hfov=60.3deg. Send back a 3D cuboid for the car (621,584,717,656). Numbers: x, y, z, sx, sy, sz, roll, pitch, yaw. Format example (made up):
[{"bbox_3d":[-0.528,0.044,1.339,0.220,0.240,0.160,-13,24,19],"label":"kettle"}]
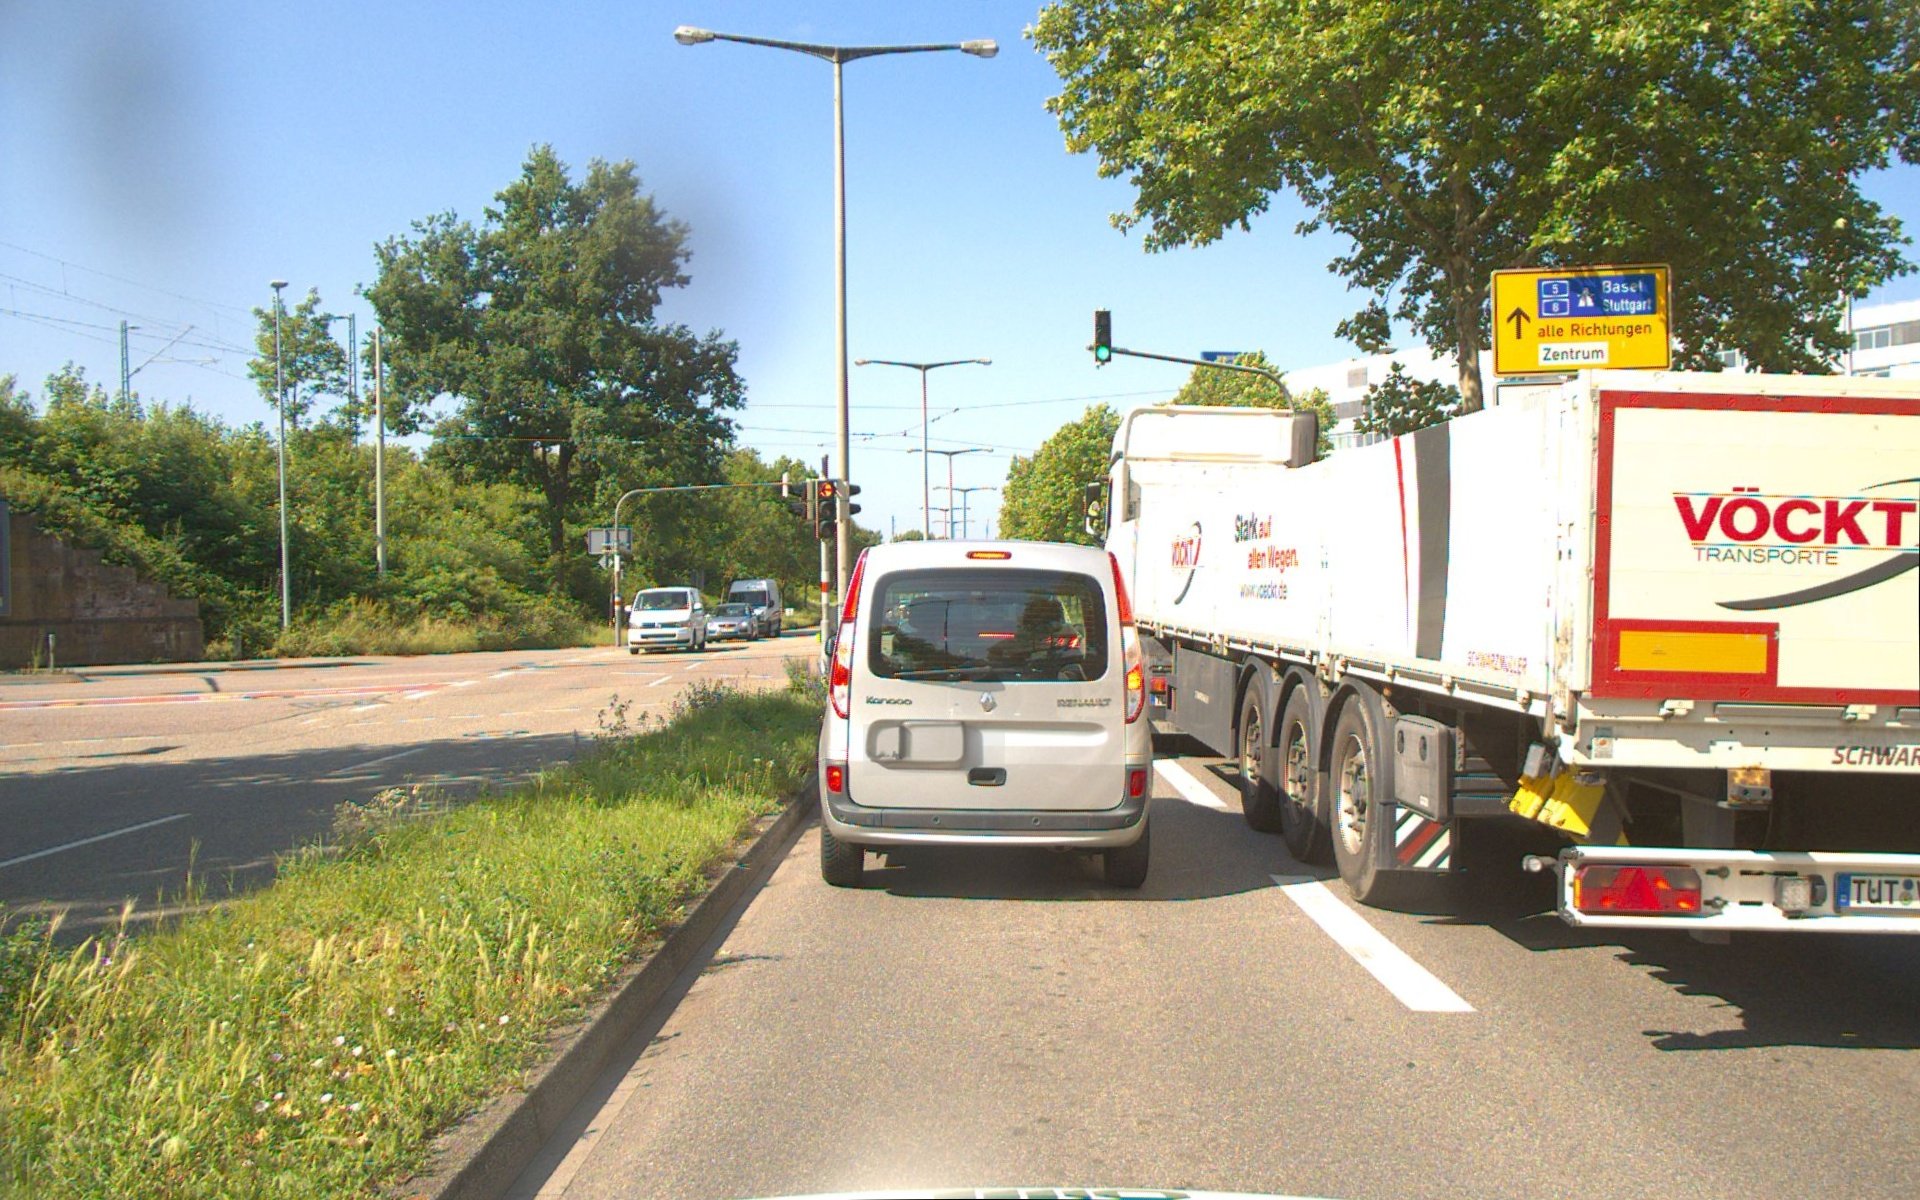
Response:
[{"bbox_3d":[-8.556,0.568,49.041,1.953,1.924,4.986,-3,0,-1],"label":"car"}]

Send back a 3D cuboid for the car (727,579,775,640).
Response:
[{"bbox_3d":[-9.464,0.410,75.209,2.019,2.660,5.861,0,0,-6],"label":"car"}]

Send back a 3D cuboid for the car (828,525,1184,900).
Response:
[{"bbox_3d":[0.209,0.553,9.978,1.713,1.803,3.949,0,0,-1],"label":"car"}]

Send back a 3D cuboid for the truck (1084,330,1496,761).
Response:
[{"bbox_3d":[3.226,-0.468,18.473,3.009,3.824,7.474,0,0,-1],"label":"truck"}]

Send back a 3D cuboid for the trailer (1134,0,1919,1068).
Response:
[{"bbox_3d":[3.283,-0.457,11.160,2.954,3.806,12.239,0,0,0],"label":"trailer"}]

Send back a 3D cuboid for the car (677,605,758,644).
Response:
[{"bbox_3d":[-9.401,0.919,63.991,1.888,1.433,4.191,0,0,-27],"label":"car"}]

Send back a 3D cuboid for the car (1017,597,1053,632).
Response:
[{"bbox_3d":[4.488,0.889,99.629,1.953,2.049,3.999,0,0,-1],"label":"car"}]
